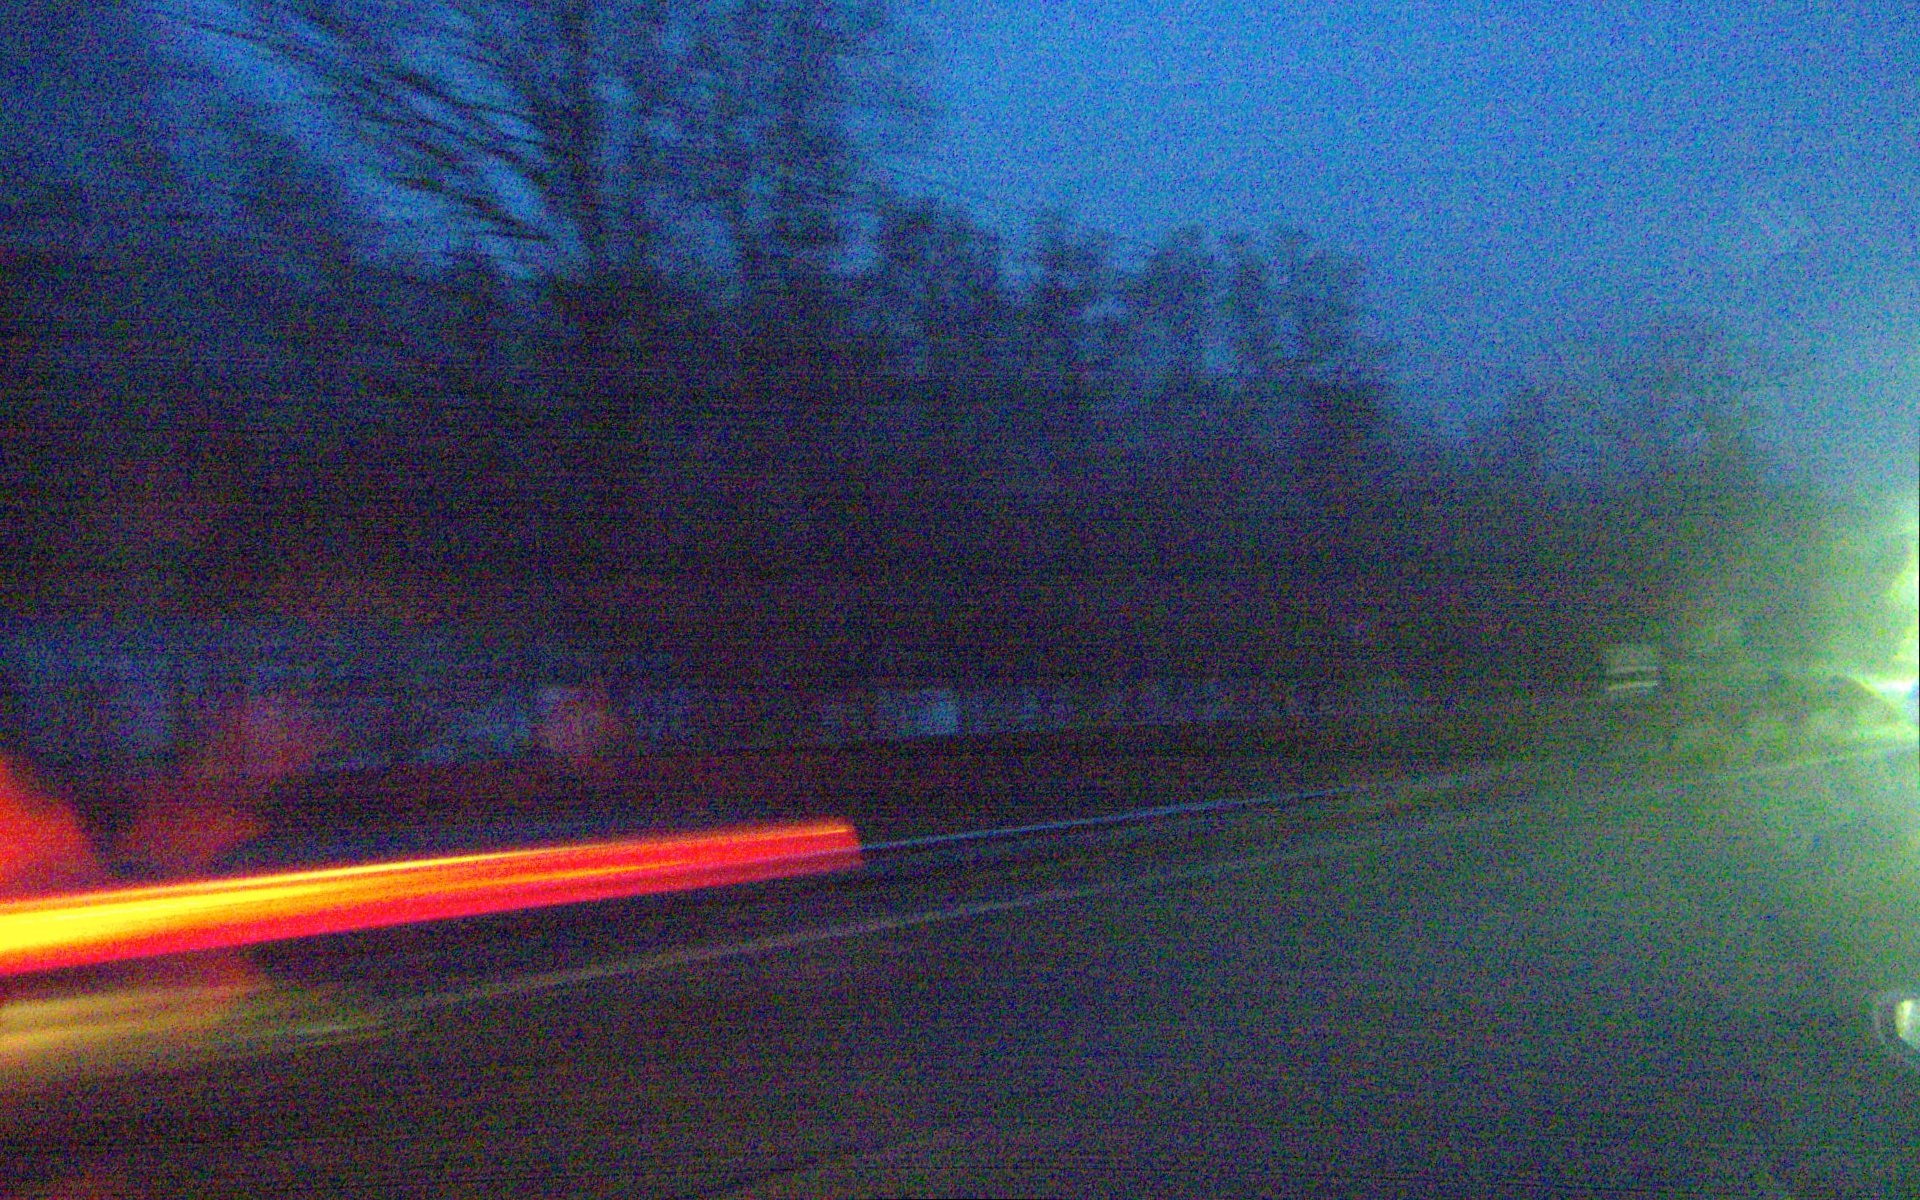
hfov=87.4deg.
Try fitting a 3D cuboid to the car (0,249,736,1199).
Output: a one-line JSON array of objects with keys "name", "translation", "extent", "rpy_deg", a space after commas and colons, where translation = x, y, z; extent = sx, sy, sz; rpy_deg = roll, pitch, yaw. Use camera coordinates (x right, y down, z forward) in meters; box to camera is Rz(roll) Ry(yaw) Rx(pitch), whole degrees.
[{"name": "car", "translation": [-2.729, 0.351, 2.121], "extent": [3.953, 1.951, 1.984], "rpy_deg": [2, 1, -30]}]
